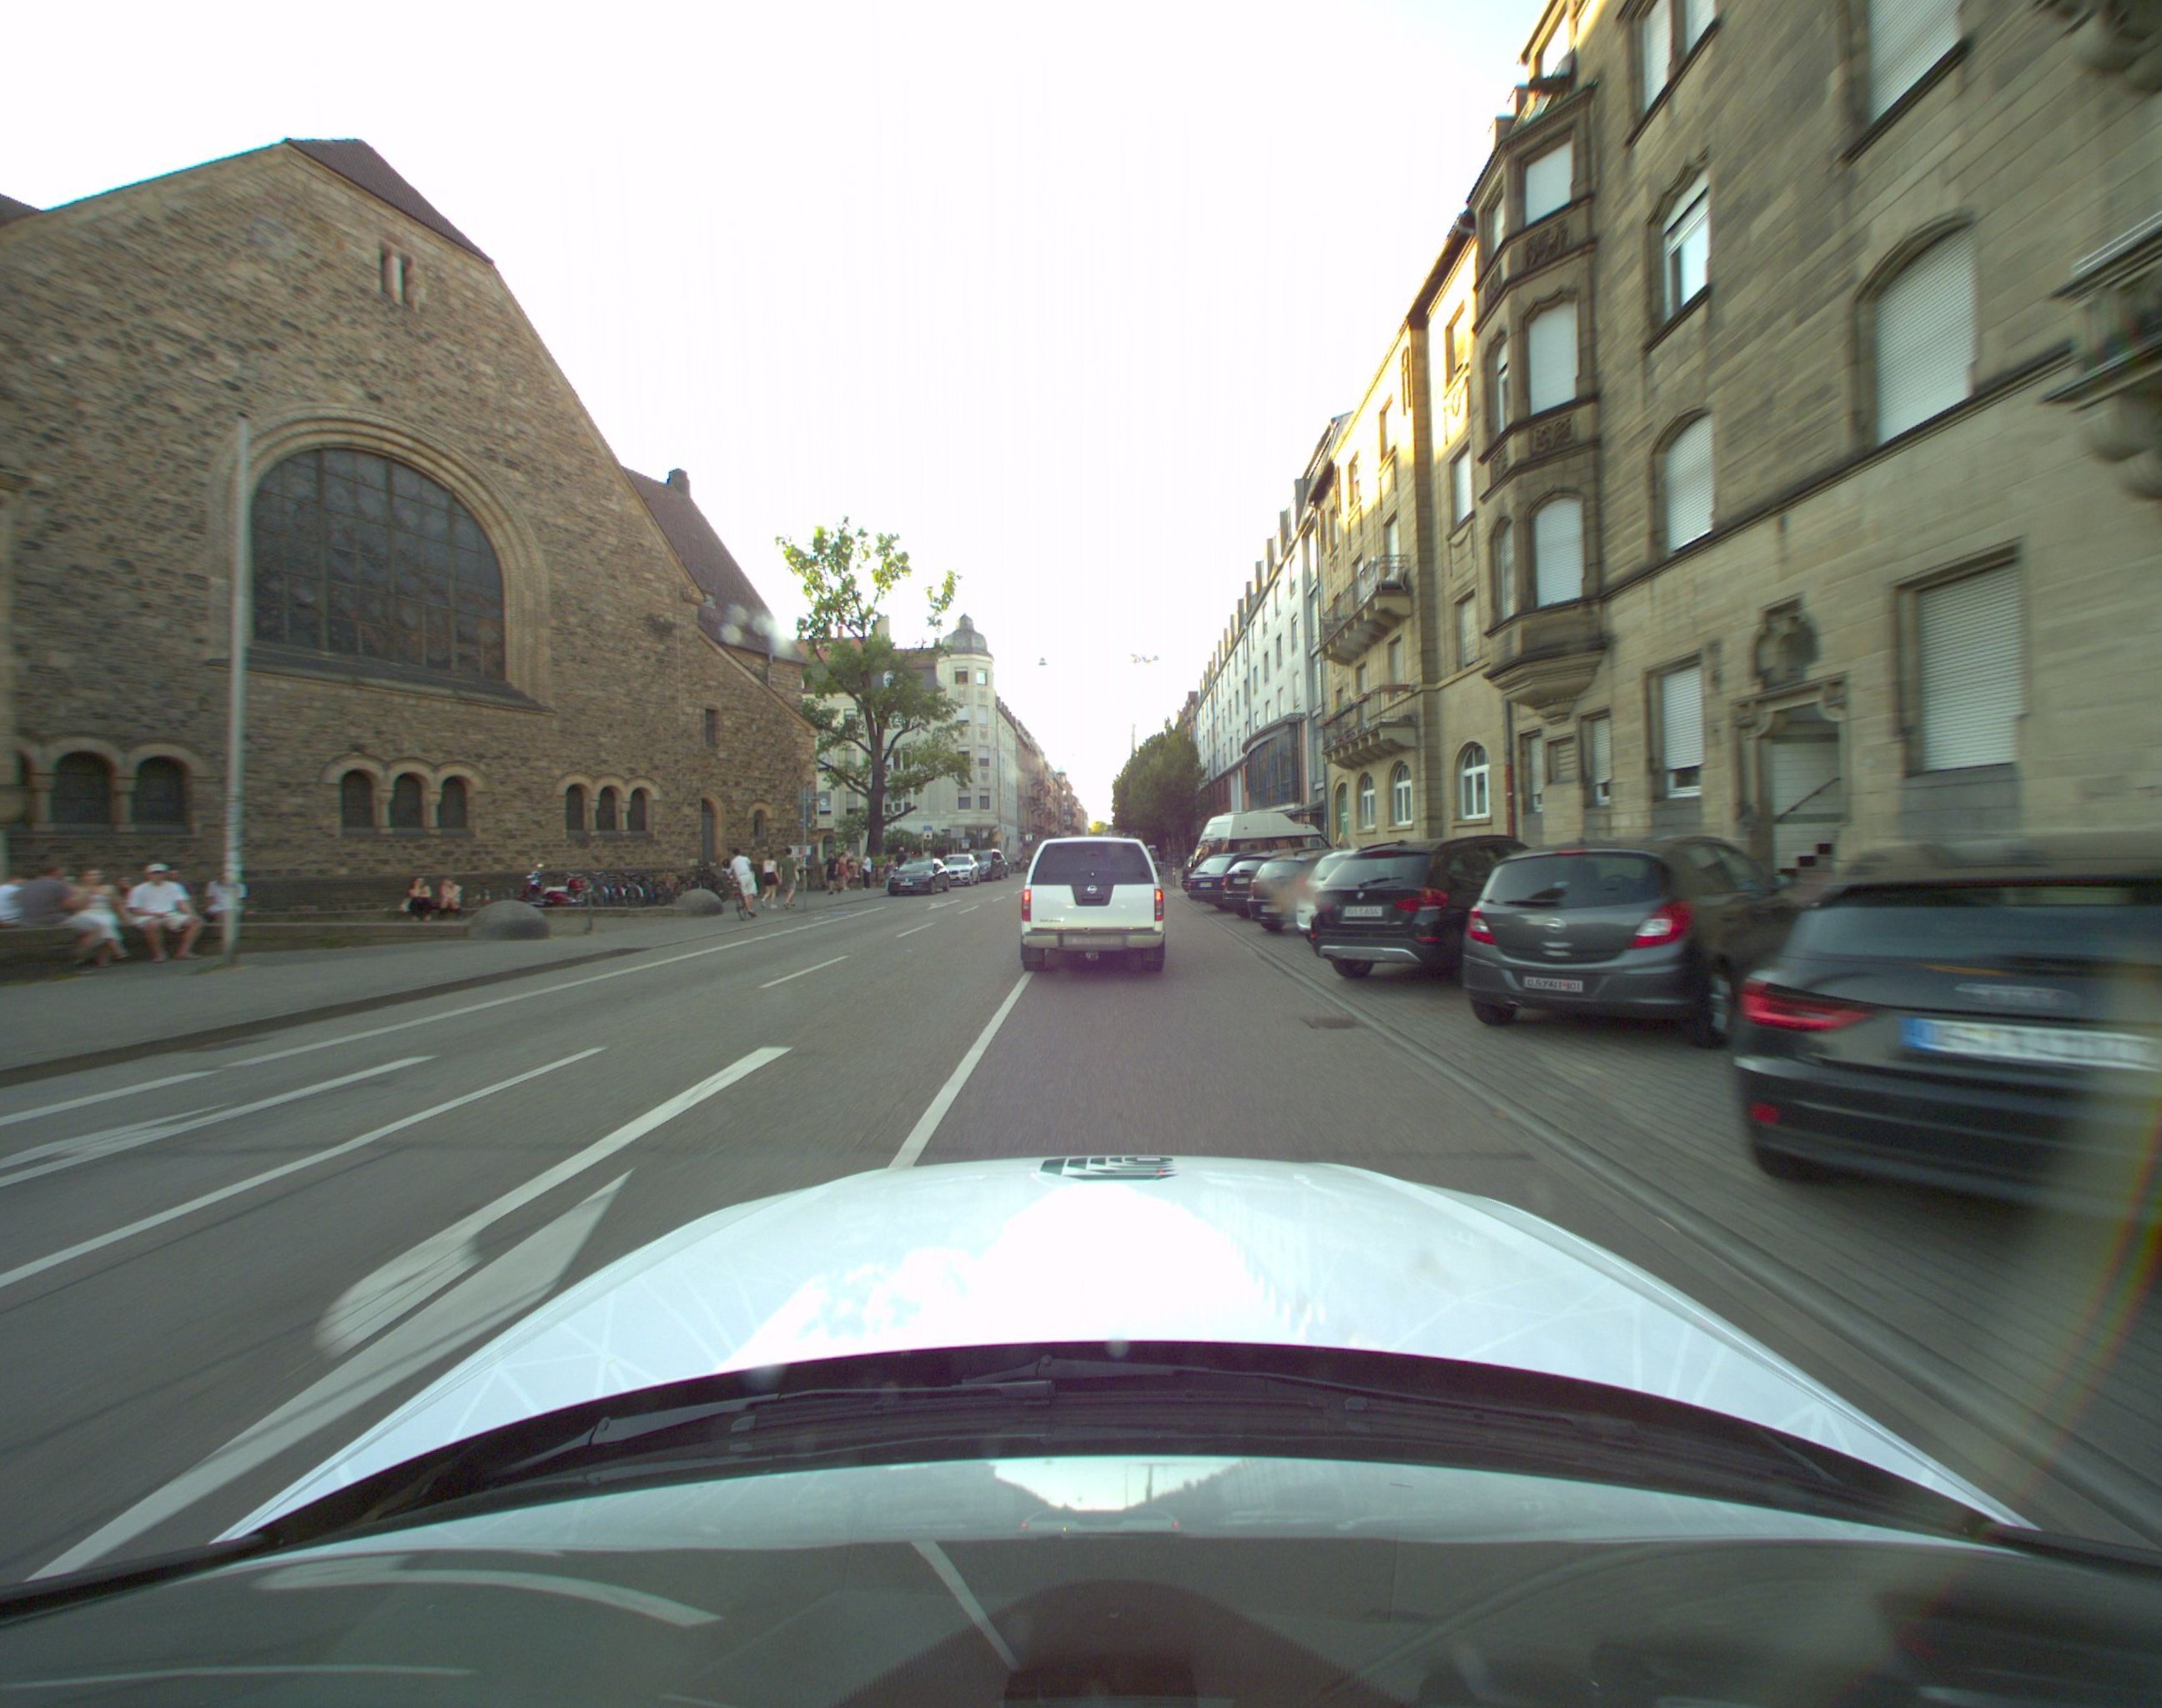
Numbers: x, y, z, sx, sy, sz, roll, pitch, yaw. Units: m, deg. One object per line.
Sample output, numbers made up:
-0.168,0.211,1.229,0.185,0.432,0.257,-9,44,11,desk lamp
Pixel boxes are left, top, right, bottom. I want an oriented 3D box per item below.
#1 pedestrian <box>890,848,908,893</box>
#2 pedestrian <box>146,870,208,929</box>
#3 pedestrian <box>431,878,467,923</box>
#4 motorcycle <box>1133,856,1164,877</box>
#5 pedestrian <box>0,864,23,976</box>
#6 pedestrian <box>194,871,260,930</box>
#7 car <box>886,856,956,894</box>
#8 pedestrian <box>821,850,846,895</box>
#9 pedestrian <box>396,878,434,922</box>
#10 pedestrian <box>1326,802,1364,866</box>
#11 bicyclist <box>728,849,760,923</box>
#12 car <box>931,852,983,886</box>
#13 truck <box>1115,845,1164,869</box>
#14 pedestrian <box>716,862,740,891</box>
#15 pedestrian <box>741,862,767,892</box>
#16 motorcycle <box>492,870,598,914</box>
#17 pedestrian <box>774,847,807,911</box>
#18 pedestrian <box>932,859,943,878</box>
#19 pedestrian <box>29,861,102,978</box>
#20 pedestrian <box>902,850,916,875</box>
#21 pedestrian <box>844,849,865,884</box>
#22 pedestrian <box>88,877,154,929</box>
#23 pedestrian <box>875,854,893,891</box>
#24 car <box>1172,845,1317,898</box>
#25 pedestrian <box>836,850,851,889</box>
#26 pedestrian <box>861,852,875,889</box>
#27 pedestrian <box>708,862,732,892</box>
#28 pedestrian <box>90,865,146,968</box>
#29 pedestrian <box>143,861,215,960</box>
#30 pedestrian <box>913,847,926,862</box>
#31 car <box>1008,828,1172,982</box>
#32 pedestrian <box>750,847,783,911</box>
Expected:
-7.822,0.708,34.999,0.580,1.905,0.803,-2,0,-1,pedestrian
-17.527,0.862,15.810,0.650,1.075,0.821,-1,0,-38,pedestrian
-14.721,1.063,18.974,0.563,0.991,0.689,-1,0,-31,pedestrian
3.956,0.710,47.917,1.643,1.101,0.646,-4,0,-7,motorcycle
-13.912,0.845,10.349,0.397,1.406,0.551,-2,0,37,pedestrian
-16.914,0.893,16.162,0.688,1.094,1.318,-1,0,-38,pedestrian
-6.558,0.813,33.837,1.775,1.435,4.320,-2,0,4,car
-9.717,0.733,32.035,0.711,1.725,0.692,-2,0,3,pedestrian
-15.209,1.037,18.606,0.563,0.967,0.643,-1,0,-31,pedestrian
8.725,-0.665,26.914,0.605,2.012,0.859,13,2,4,pedestrian
-8.767,0.820,21.216,0.707,1.880,0.936,0,0,-18,bicyclist
-6.288,0.733,41.847,1.865,1.592,4.469,-2,0,1,car
7.733,0.438,107.119,6.293,2.977,2.266,-1,-3,3,truck
-12.749,0.813,29.406,0.493,1.048,0.611,-1,0,22,pedestrian
-11.943,0.849,29.742,0.512,1.056,0.703,-2,0,19,pedestrian
-14.526,1.016,22.116,2.403,1.126,0.823,0,0,5,motorcycle
-8.739,0.730,24.545,0.645,1.879,0.891,-1,0,-1,pedestrian
-11.696,1.163,66.513,0.699,1.469,0.784,-2,0,1,pedestrian
-13.154,0.824,10.548,0.543,1.453,0.561,-2,0,37,pedestrian
-12.166,0.621,57.663,0.704,1.721,0.837,-2,0,0,pedestrian
-10.229,0.553,36.804,0.644,1.545,0.589,-1,0,25,pedestrian
-17.915,0.903,15.214,0.650,0.916,0.732,-1,0,-38,pedestrian
-8.442,0.785,34.953,0.580,1.552,0.839,-1,0,-1,pedestrian
5.317,0.528,26.484,4.365,1.502,1.897,-2,0,-26,car
-10.484,0.689,35.967,0.417,1.674,0.542,-1,0,-38,pedestrian
-9.512,0.724,36.420,0.417,1.622,0.542,-1,0,-38,pedestrian
-12.715,0.798,28.679,0.741,1.048,0.515,-1,0,-28,pedestrian
-13.697,0.874,11.583,0.541,1.406,0.461,-2,0,37,pedestrian
-13.480,0.827,12.171,0.695,1.406,0.636,-2,0,37,pedestrian
-11.452,0.037,57.673,0.704,0.980,0.837,-2,0,0,pedestrian
0.178,0.603,11.922,1.926,1.794,4.623,0,0,2,car
-9.440,0.729,24.457,0.571,1.856,0.988,-1,0,-1,pedestrian
